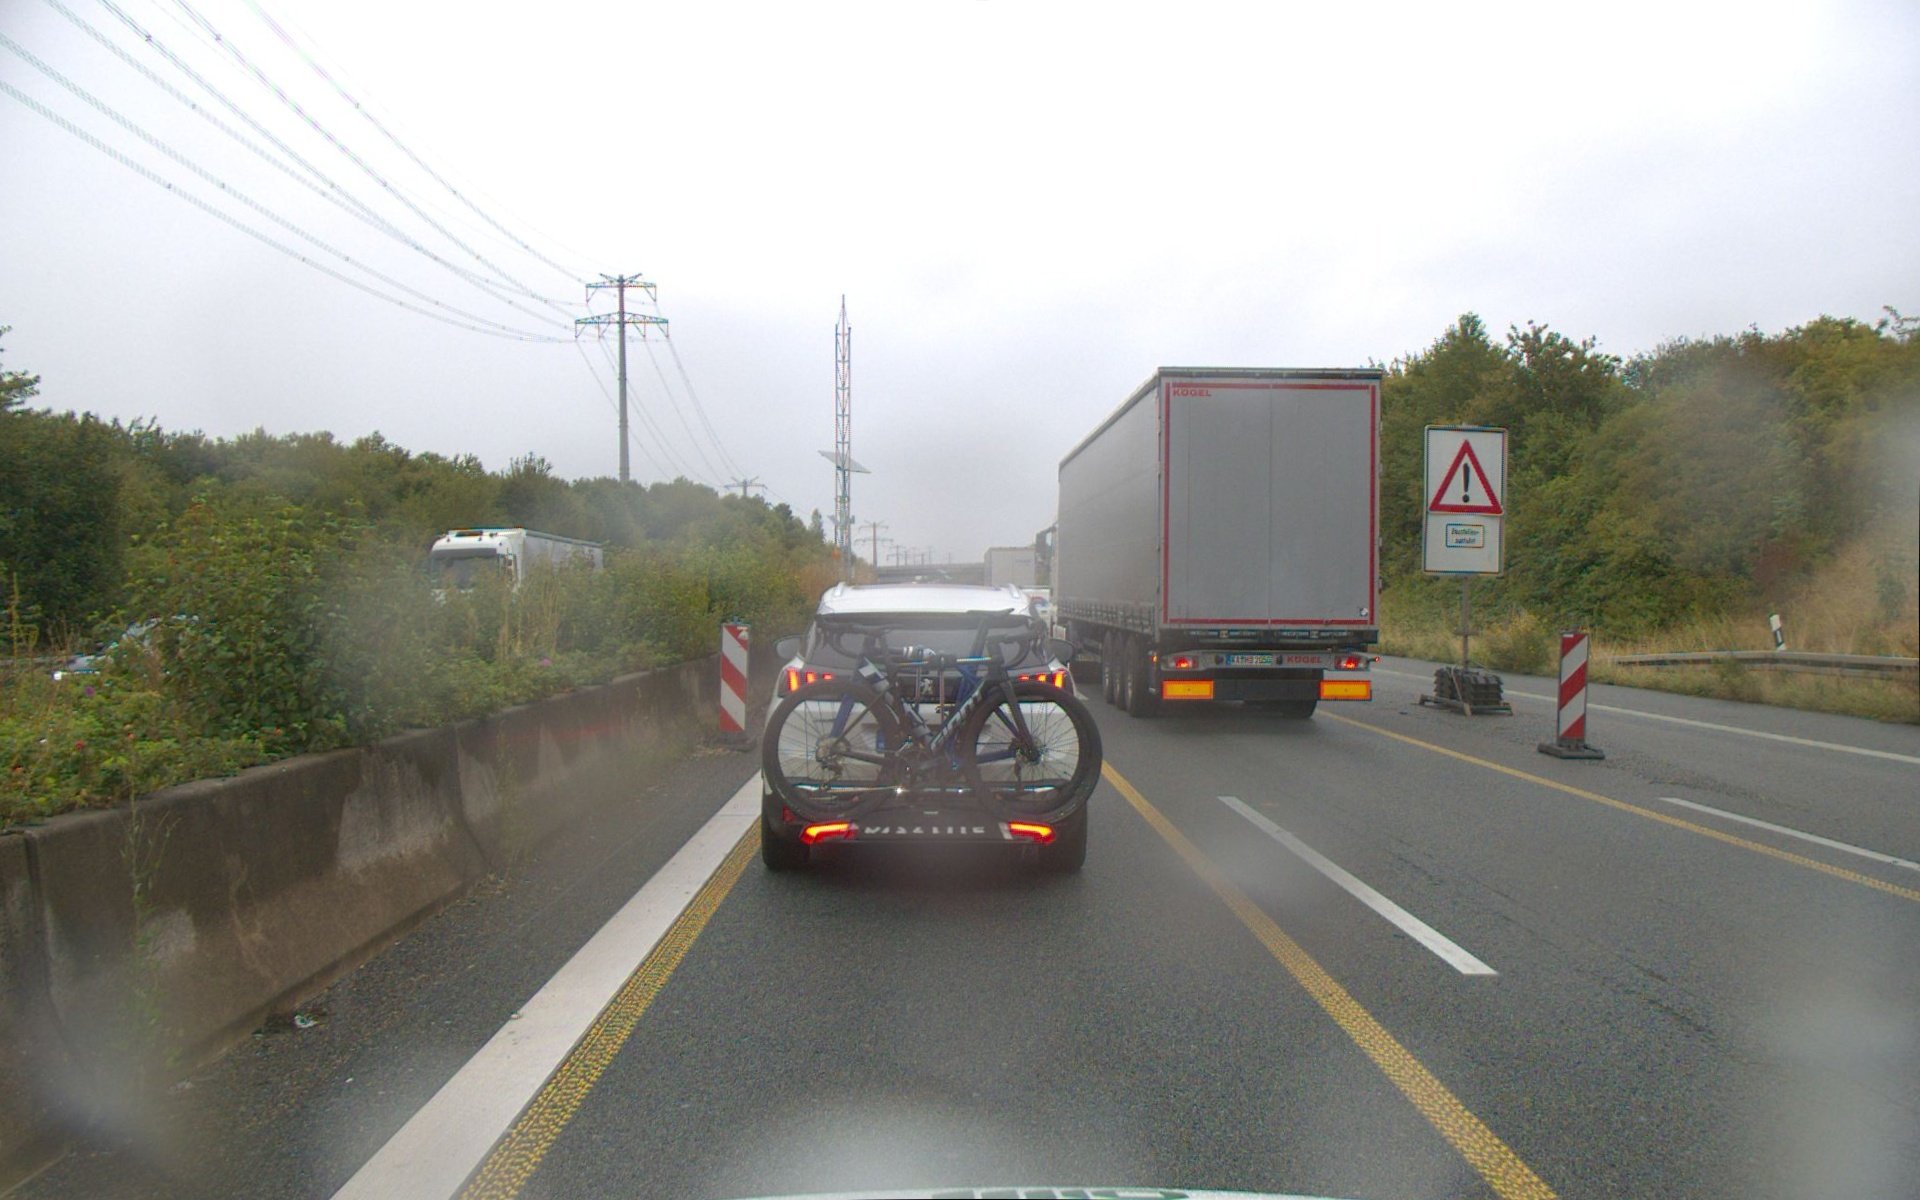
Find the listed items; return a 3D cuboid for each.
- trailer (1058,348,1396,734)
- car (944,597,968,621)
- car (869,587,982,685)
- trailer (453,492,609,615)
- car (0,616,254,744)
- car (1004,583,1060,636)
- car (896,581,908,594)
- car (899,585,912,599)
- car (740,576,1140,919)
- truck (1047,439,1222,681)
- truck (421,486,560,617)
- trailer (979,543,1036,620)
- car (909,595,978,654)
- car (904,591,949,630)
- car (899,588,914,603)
[{"bbox_3d":[3.335,-0.662,25.002,2.651,4.218,13.729,0,0,-1],"label":"trailer"},{"bbox_3d":[-0.359,0.787,143.985,2.067,2.008,4.000,0,1,-1],"label":"car"},{"bbox_3d":[-0.585,0.571,28.550,1.812,1.557,3.999,0,0,-1],"label":"car"},{"bbox_3d":[-15.978,-1.603,62.781,2.729,4.094,13.246,-1,0,-2],"label":"trailer"},{"bbox_3d":[-11.480,1.020,22.664,1.953,1.554,3.999,0,0,-1],"label":"car"},{"bbox_3d":[2.627,0.341,61.271,1.792,1.871,4.654,0,0,-1],"label":"car"},{"bbox_3d":[-8.867,-1.919,253.400,1.892,2.008,4.000,0,1,-1],"label":"car"},{"bbox_3d":[-7.953,-1.196,241.989,1.892,1.944,4.000,0,1,-1],"label":"car"},{"bbox_3d":[-0.132,0.667,9.914,1.812,1.557,4.767,0,0,-1],"label":"car"},{"bbox_3d":[3.203,-0.708,31.779,2.651,4.211,5.689,0,0,-1],"label":"truck"},{"bbox_3d":[-15.775,-1.555,56.079,2.729,4.094,7.231,-1,0,-2],"label":"truck"},{"bbox_3d":[2.655,-1.017,95.584,2.638,4.148,13.630,0,0,-1],"label":"trailer"},{"bbox_3d":[-0.474,0.643,46.108,1.812,1.557,3.999,0,0,-1],"label":"car"},{"bbox_3d":[-1.392,0.434,68.463,1.812,1.557,3.999,0,0,-1],"label":"car"},{"bbox_3d":[-7.218,-0.639,224.287,1.892,2.008,4.000,0,1,-1],"label":"car"}]
